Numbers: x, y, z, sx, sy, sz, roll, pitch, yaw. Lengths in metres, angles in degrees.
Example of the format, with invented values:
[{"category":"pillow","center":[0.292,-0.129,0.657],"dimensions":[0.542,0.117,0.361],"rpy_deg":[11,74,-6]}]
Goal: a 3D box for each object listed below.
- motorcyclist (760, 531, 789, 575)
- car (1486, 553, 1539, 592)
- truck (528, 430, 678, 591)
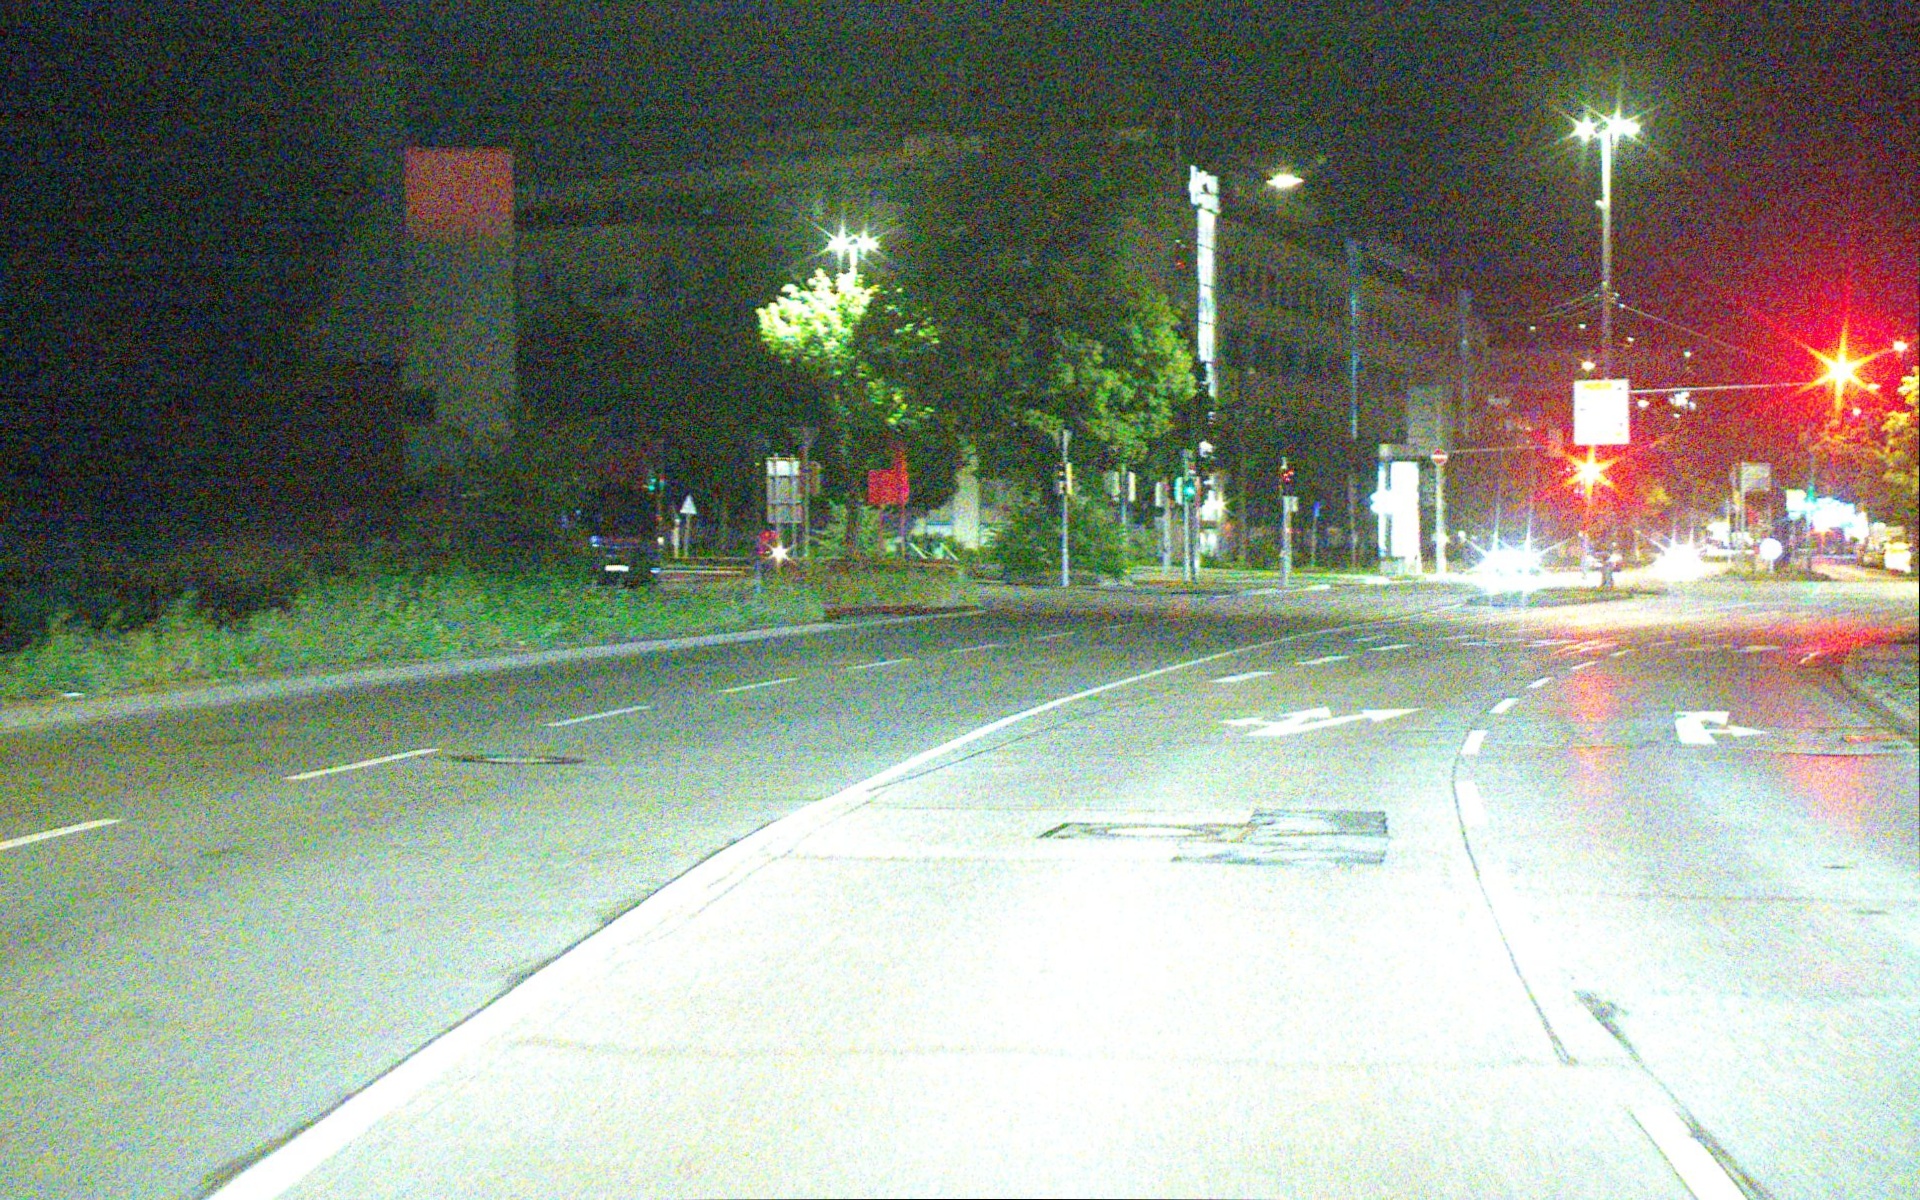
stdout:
[{"category":"motorcyclist","center":[-5.366,-1.357,99.388],"dimensions":[0.646,1.257,0.579],"rpy_deg":[1,1,-27]},{"category":"car","center":[22.326,-1.116,138.905],"dimensions":[1.617,1.509,3.997],"rpy_deg":[1,1,16]},{"category":"truck","center":[-9.057,-2.181,86.304],"dimensions":[2.937,3.783,9.560],"rpy_deg":[1,1,-11]}]
